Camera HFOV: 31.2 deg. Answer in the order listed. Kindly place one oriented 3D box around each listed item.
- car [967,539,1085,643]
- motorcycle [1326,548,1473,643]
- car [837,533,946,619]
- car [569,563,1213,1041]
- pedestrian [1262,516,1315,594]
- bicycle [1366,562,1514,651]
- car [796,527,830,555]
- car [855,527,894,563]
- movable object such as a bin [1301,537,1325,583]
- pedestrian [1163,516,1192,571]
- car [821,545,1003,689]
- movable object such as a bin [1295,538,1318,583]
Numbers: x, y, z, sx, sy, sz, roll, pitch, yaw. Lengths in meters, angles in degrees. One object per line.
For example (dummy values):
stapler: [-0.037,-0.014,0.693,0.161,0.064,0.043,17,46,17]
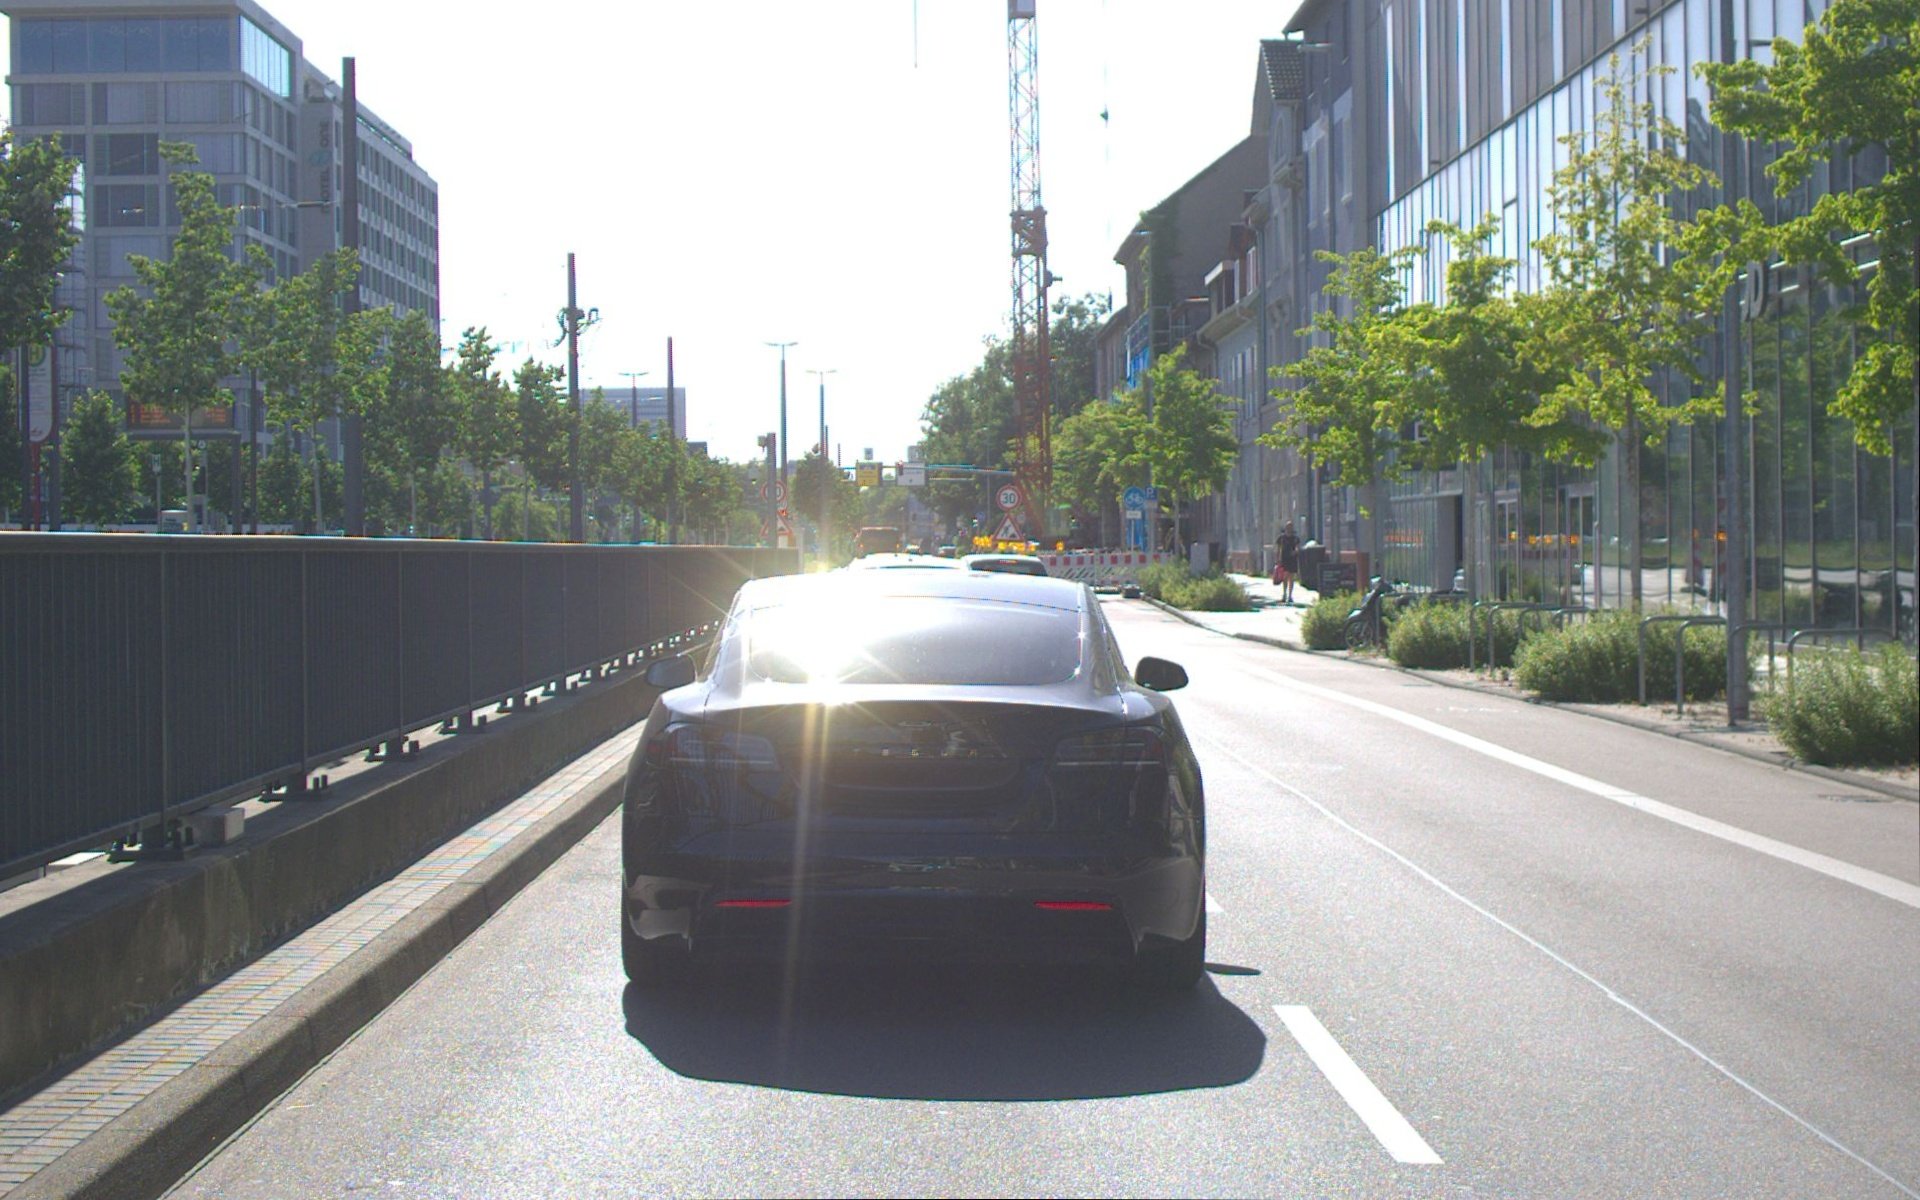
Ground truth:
car: [1.031,-0.172,54.134,1.784,1.540,4.039,0,1,1]
motorcycle: [6.694,-0.070,52.376,2.075,1.349,0.652,-3,0,23]
car: [-1.311,-0.497,67.676,1.888,1.590,4.000,-1,1,2]
car: [-0.129,0.603,12.909,1.999,1.429,4.412,0,1,2]
pedestrian: [8.004,-1.097,83.771,1.095,1.857,1.523,-1,1,-2]
bicycle: [6.664,0.084,47.737,1.881,1.147,0.672,-2,1,-10]
car: [-9.094,-3.616,212.720,1.993,1.678,4.000,1,1,-2]
car: [-4.345,-2.823,175.584,1.814,1.803,4.039,0,1,1]
movable object such as a bin: [9.114,-1.026,88.692,0.559,1.165,0.562,1,0,3]
pedestrian: [7.359,-1.910,116.368,0.851,1.857,0.930,-1,1,-2]
car: [-0.442,0.130,34.514,1.716,1.315,4.000,0,1,0]
movable object such as a bin: [9.023,-1.037,89.541,0.559,1.165,0.562,1,0,3]
